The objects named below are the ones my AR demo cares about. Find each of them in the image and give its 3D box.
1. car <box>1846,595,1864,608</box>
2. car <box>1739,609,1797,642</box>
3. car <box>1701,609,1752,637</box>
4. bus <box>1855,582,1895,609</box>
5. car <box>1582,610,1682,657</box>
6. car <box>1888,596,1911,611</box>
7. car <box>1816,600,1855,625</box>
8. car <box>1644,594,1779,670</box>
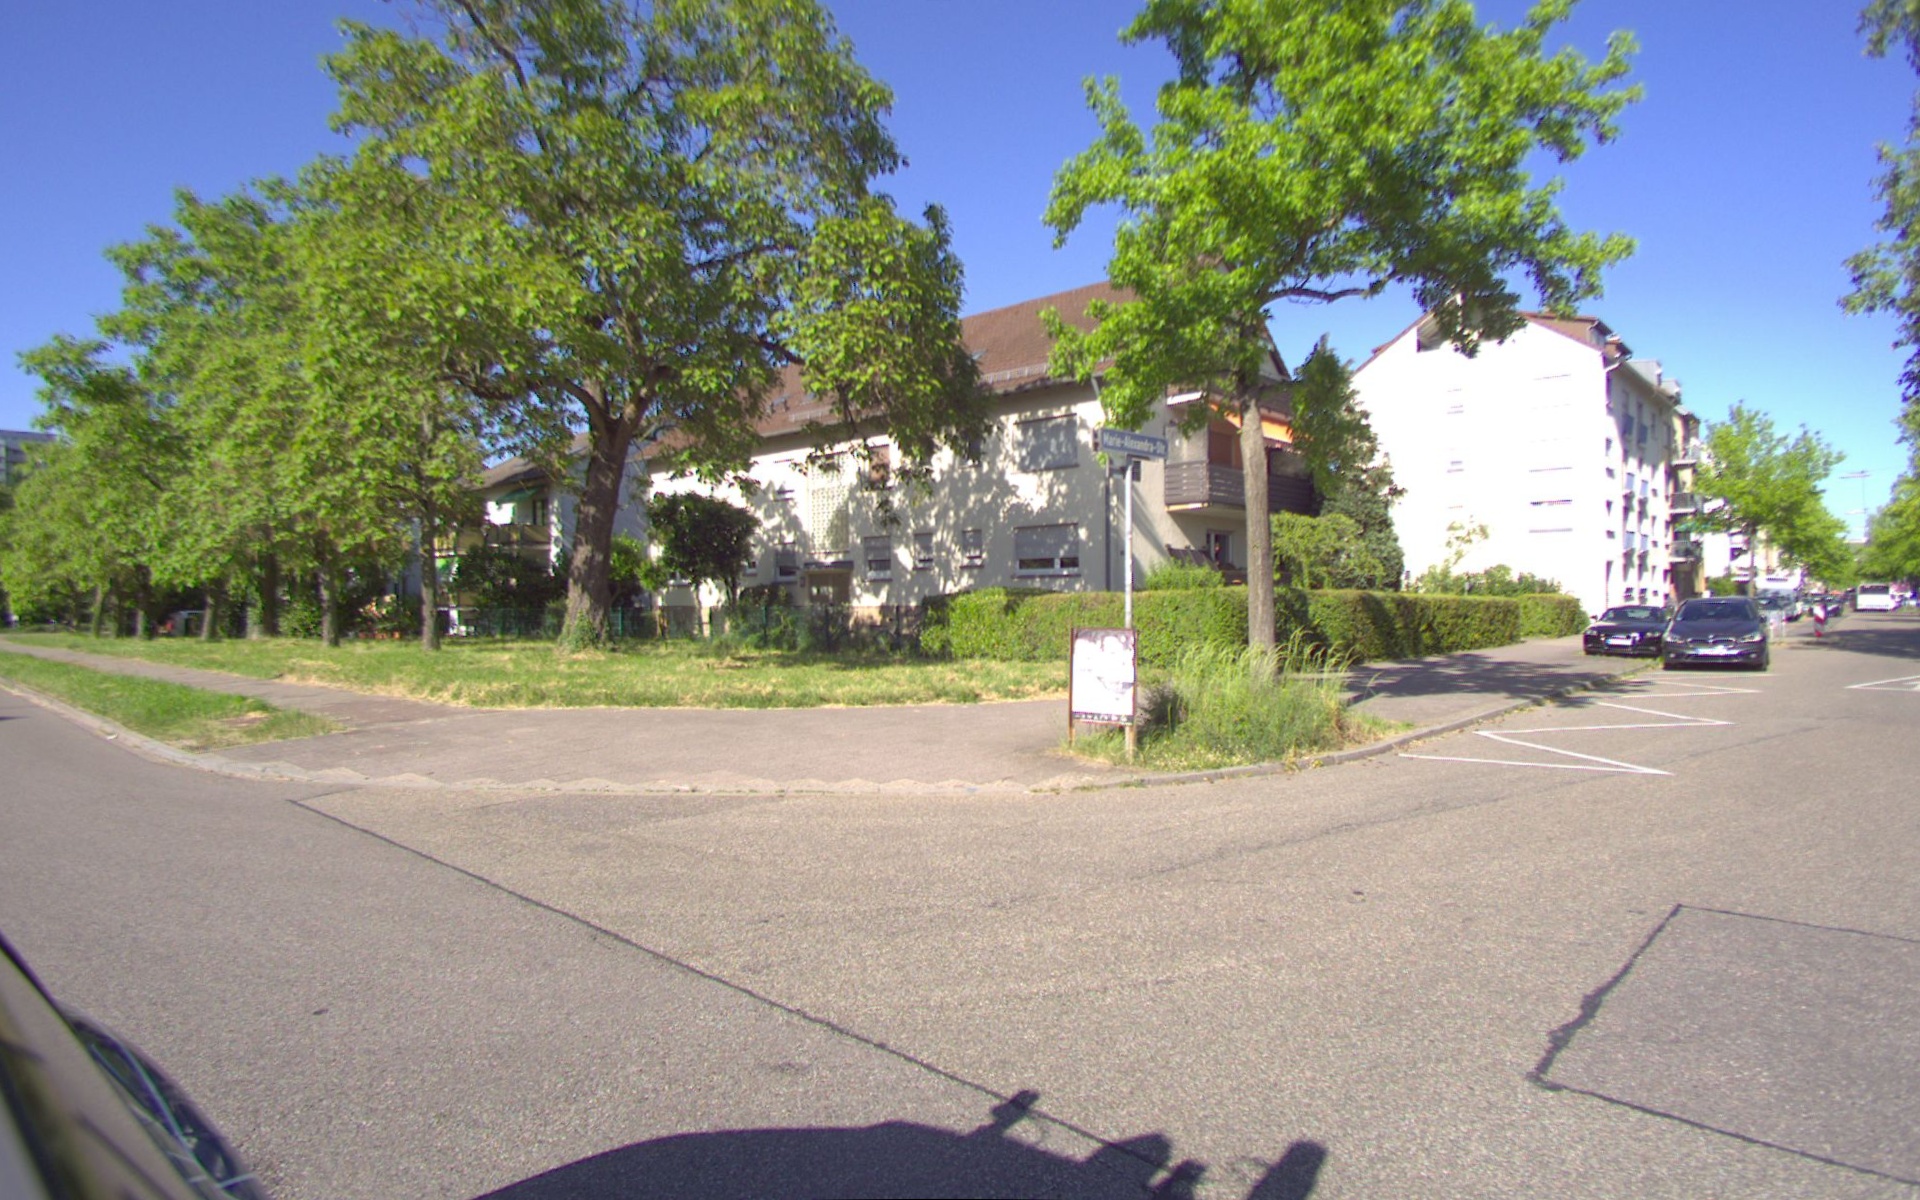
[{"bbox_3d":[133.631,0.224,151.087,1.999,1.763,3.945,-1,-1,41],"label":"car"},{"bbox_3d":[31.066,0.967,38.874,1.539,1.202,3.946,-1,-1,42],"label":"car"},{"bbox_3d":[34.737,1.040,45.835,1.539,1.202,3.946,-1,-1,42],"label":"car"},{"bbox_3d":[90.661,-0.493,100.241,2.799,2.528,10.051,-1,1,42],"label":"bus"},{"bbox_3d":[17.616,0.821,26.474,1.630,1.039,3.967,-1,1,42],"label":"car"},{"bbox_3d":[117.599,0.442,126.686,2.001,1.763,3.942,-1,-1,44],"label":"car"},{"bbox_3d":[65.534,0.923,75.759,2.001,1.763,3.942,-1,-1,44],"label":"car"},{"bbox_3d":[16.700,0.642,22.406,2.115,1.468,4.053,-1,1,41],"label":"car"}]
